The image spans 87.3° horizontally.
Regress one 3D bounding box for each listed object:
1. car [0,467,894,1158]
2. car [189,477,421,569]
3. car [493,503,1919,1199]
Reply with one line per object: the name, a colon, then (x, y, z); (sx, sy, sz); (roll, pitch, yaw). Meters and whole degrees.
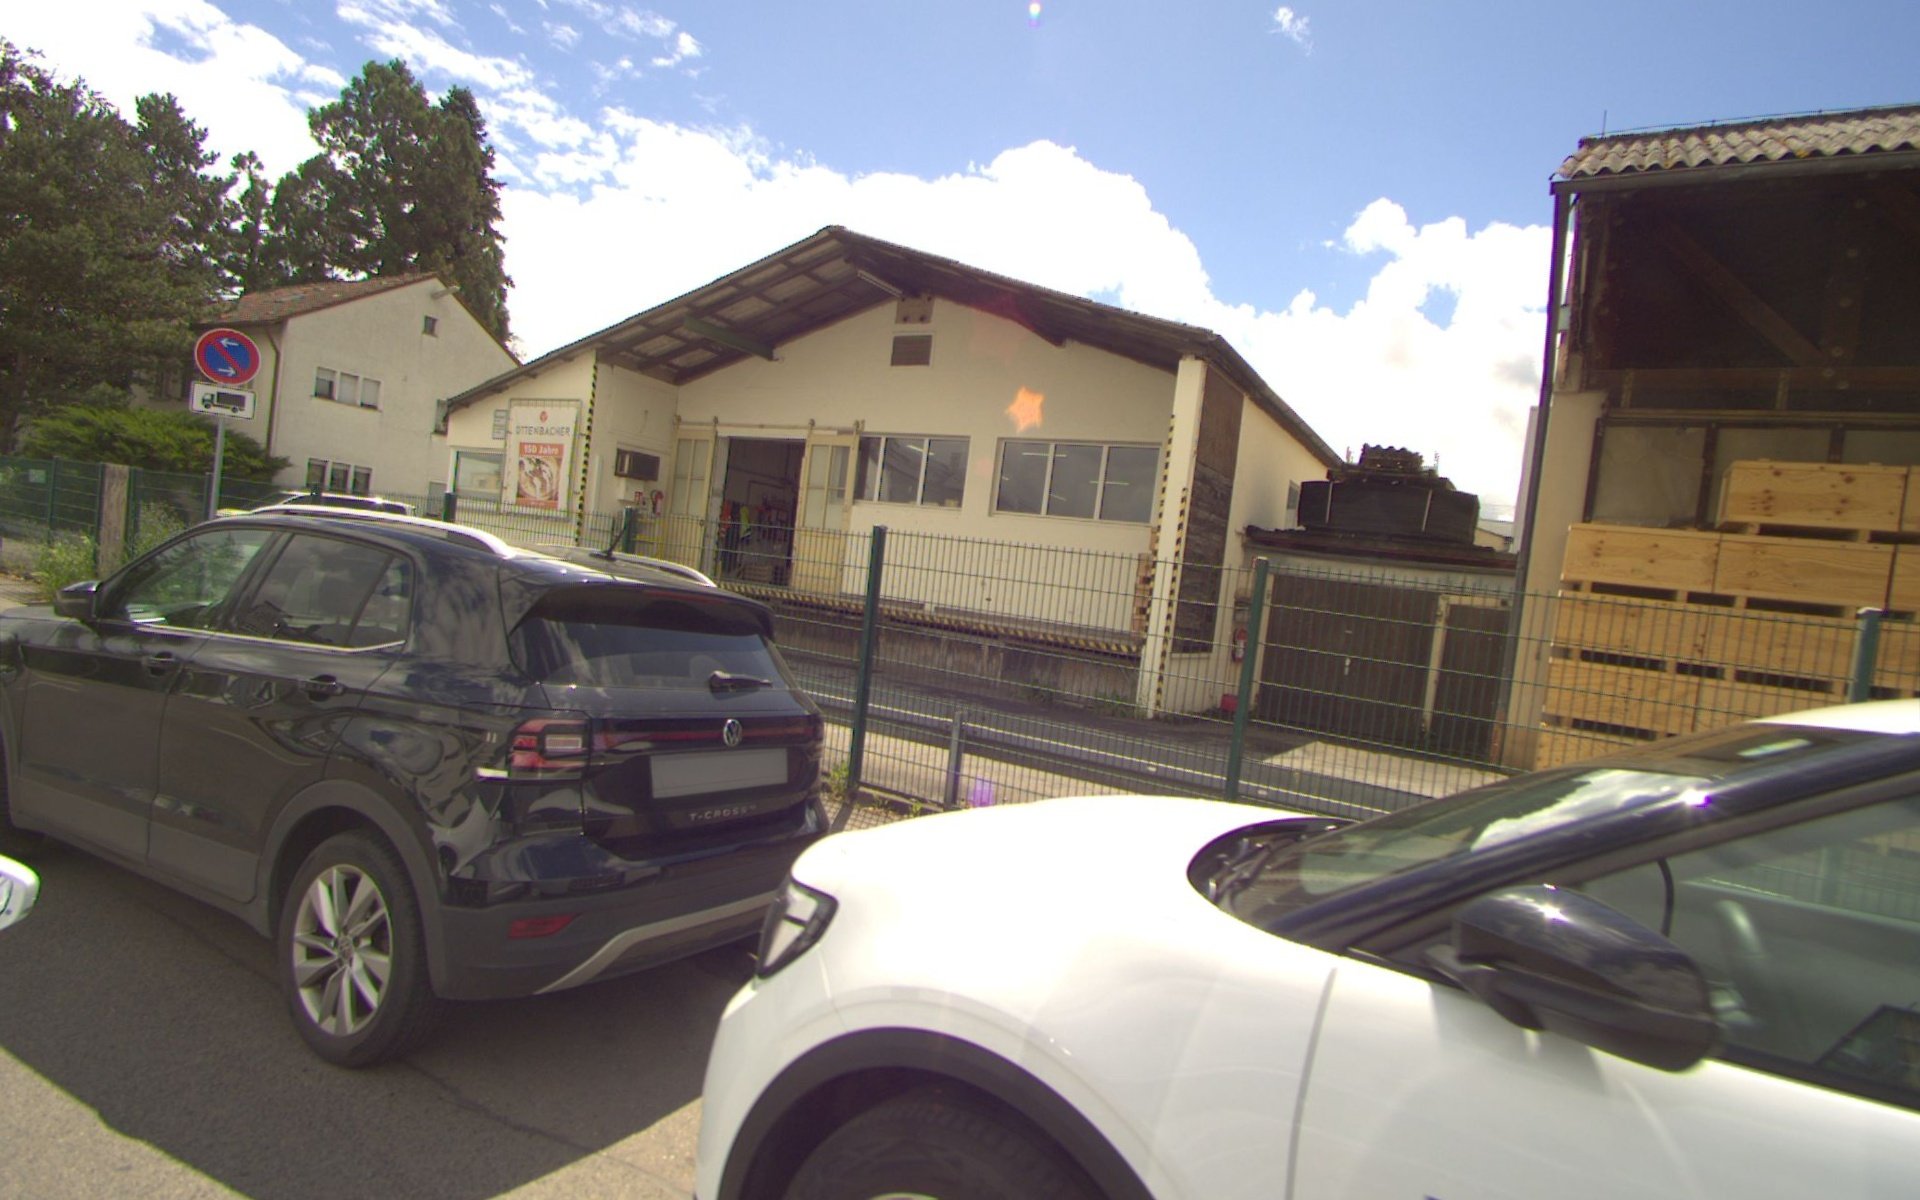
car: (-2.490, 0.425, 4.145); (4.014, 1.571, 1.692); (7, 1, 28)
car: (-18.183, -2.083, 28.177); (1.968, 1.954, 5.015); (7, 2, 34)
car: (1.536, 0.884, 1.517); (4.496, 1.572, 1.793); (7, 2, 31)
